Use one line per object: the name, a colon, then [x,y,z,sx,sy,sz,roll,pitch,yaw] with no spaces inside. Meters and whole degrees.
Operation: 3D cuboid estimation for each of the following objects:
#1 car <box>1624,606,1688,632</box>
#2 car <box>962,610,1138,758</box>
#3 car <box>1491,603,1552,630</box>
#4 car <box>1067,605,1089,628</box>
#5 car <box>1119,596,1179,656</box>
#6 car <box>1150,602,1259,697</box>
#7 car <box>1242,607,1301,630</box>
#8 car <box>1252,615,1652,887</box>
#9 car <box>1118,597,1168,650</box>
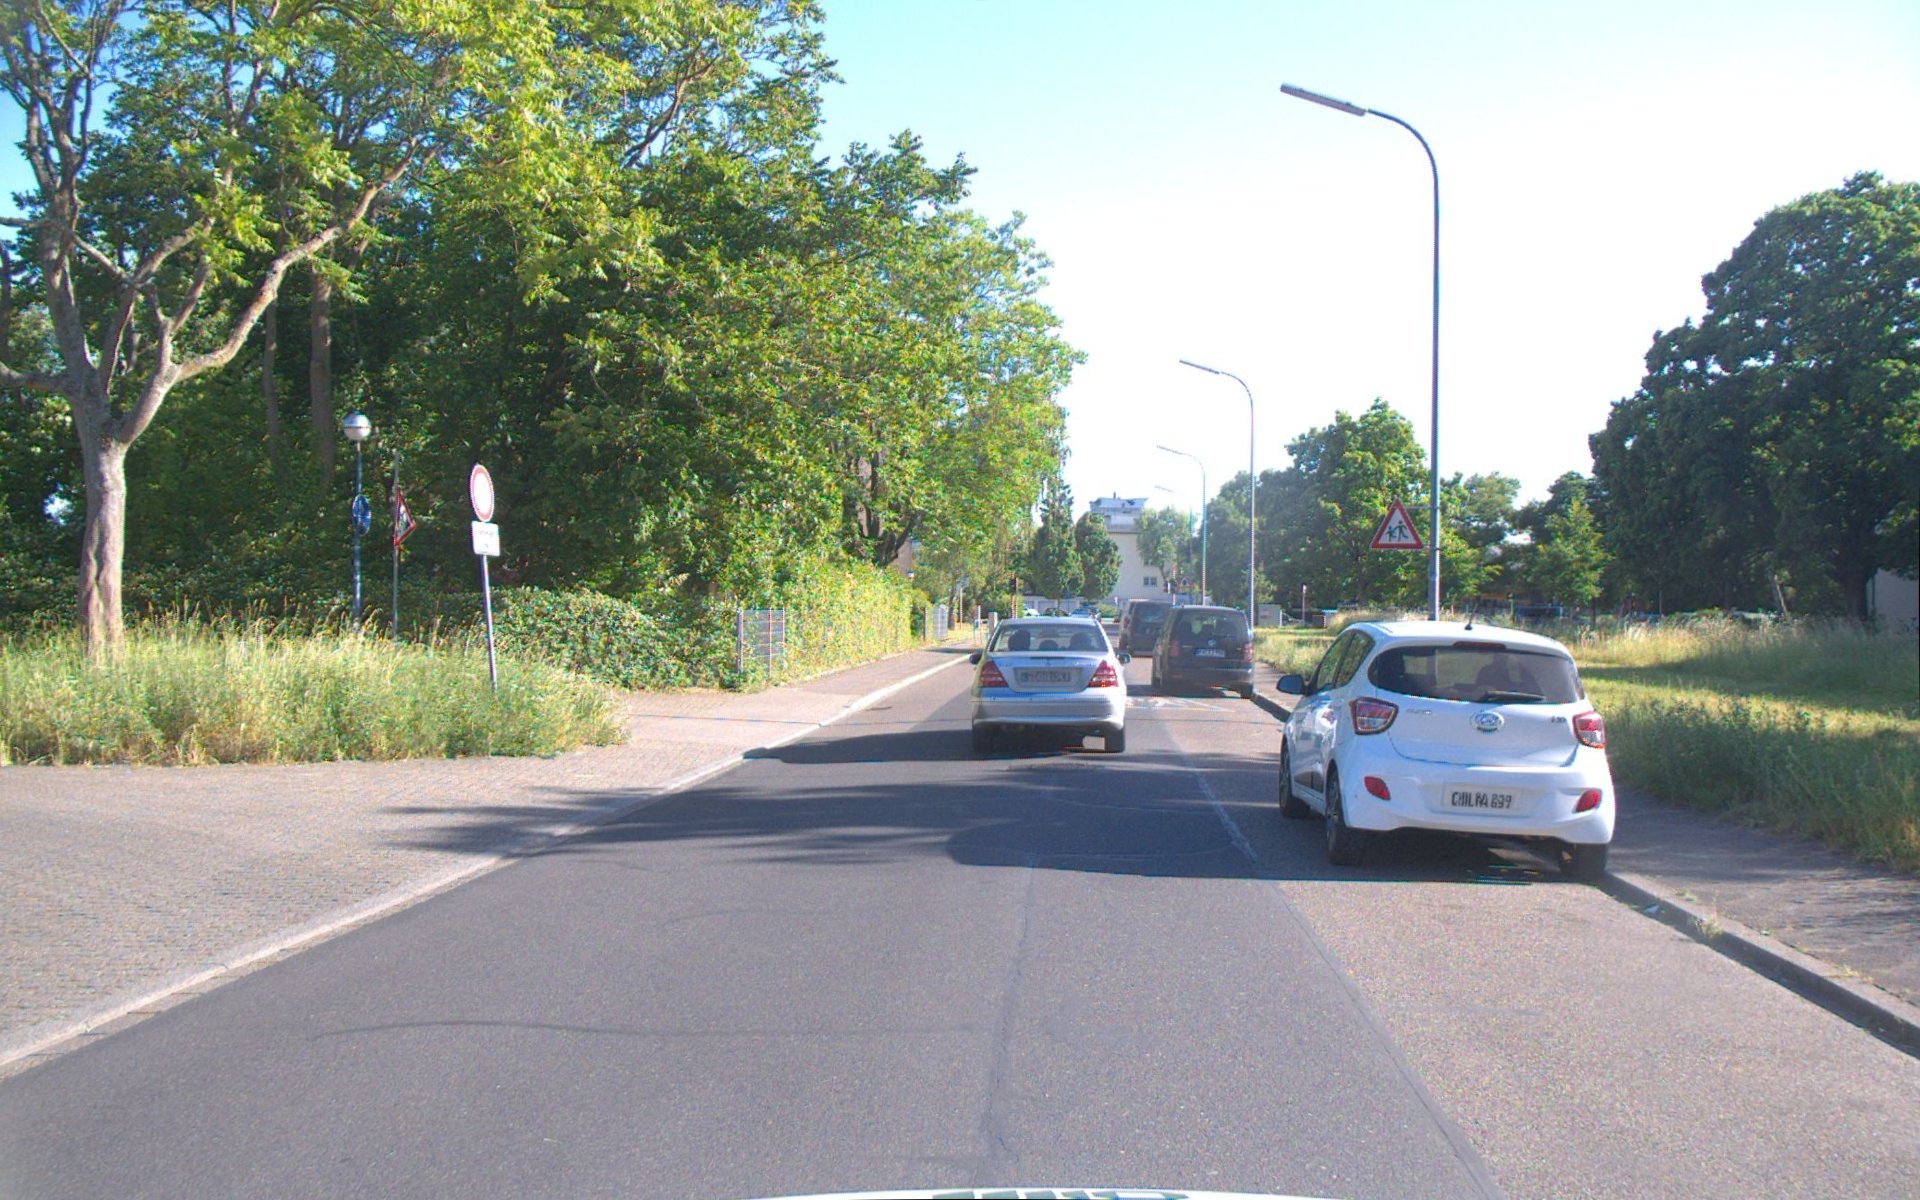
car: [45.947,1.260,109.258,3.624,1.646,1.701,0,-2,13]
car: [1.113,0.859,18.956,1.778,1.489,4.363,0,0,5]
car: [35.691,1.057,105.187,3.626,1.646,1.700,0,-2,20]
car: [9.892,1.408,138.746,1.845,1.758,4.001,1,-2,4]
car: [6.088,0.809,53.501,1.663,1.790,3.852,2,0,4]
car: [4.601,0.886,31.581,1.663,1.639,4.002,1,0,3]
car: [20.672,1.205,109.602,3.626,1.467,1.700,0,-2,20]
car: [3.184,0.889,11.455,1.686,1.505,3.741,2,0,1]
car: [7.042,0.880,63.870,1.663,1.884,3.852,2,0,4]
